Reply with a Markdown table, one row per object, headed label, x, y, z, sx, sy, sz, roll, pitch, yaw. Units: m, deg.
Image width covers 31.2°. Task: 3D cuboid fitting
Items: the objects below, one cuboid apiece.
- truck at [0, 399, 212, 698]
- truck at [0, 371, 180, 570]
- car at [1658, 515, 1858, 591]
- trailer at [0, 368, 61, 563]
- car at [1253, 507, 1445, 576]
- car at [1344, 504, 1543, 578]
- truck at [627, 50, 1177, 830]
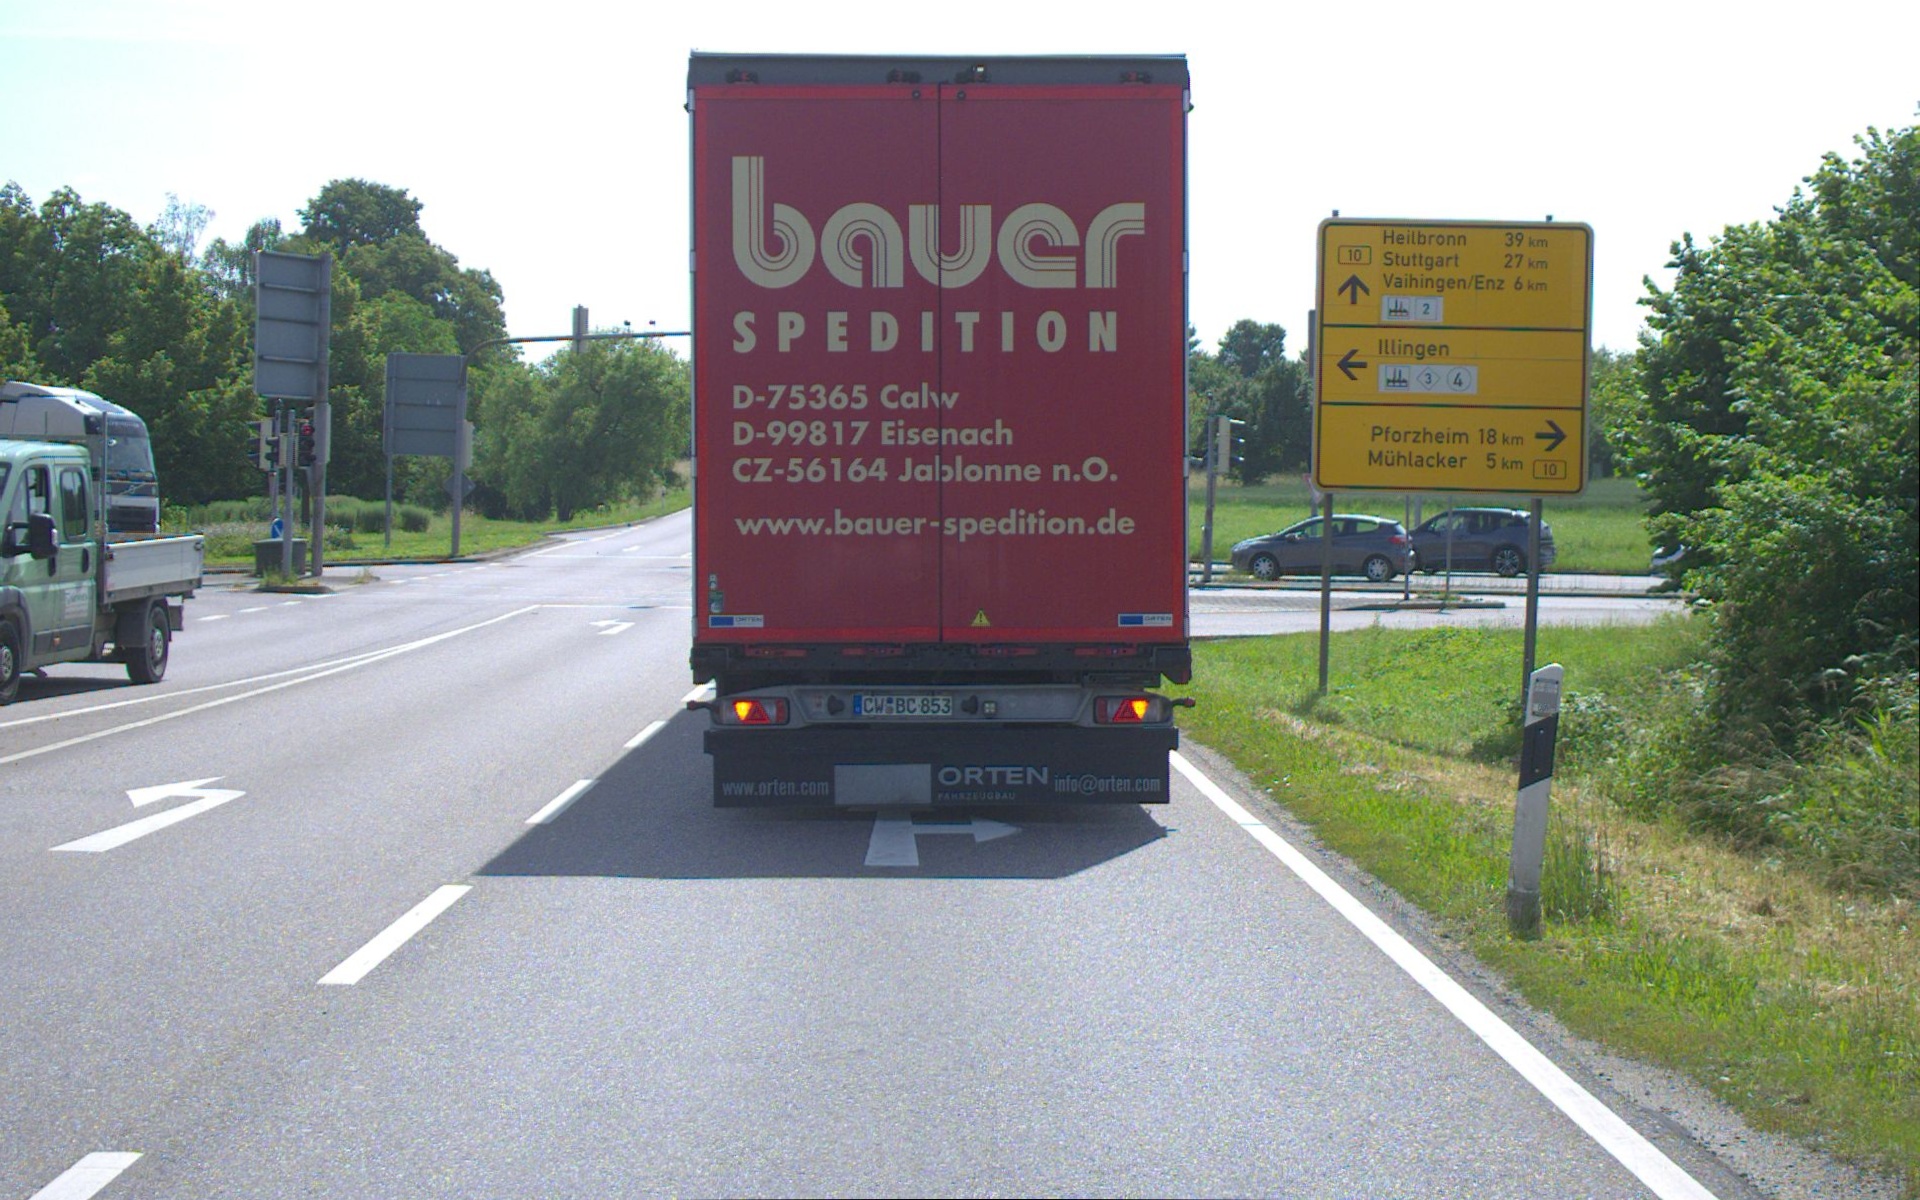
| label | x | y | z | sx | sy | sz | roll | pitch | yaw |
| --- | --- | --- | --- | --- | --- | --- | --- | --- | --- |
| truck | -8.529 | -0.483 | 29.867 | 2.242 | 2.367 | 6.350 | 1 | 1 | 4 |
| truck | -19.760 | -2.772 | 72.482 | 5.830 | 4.047 | 2.796 | 2 | 2 | 16 |
| car | 17.120 | -1.004 | 73.746 | 4.102 | 1.542 | 1.872 | 1 | 1 | 14 |
| trailer | -26.286 | -3.003 | 74.326 | 13.694 | 4.047 | 2.796 | 2 | 2 | 15 |
| car | 8.578 | -1.290 | 75.721 | 3.989 | 1.424 | 1.999 | 1 | 1 | 13 |
| car | 11.286 | -1.387 | 80.384 | 4.282 | 1.650 | 1.696 | 1 | 1 | 34 |
| truck | -0.500 | -1.044 | 25.678 | 2.734 | 3.911 | 16.627 | 1 | 2 | -1 |
